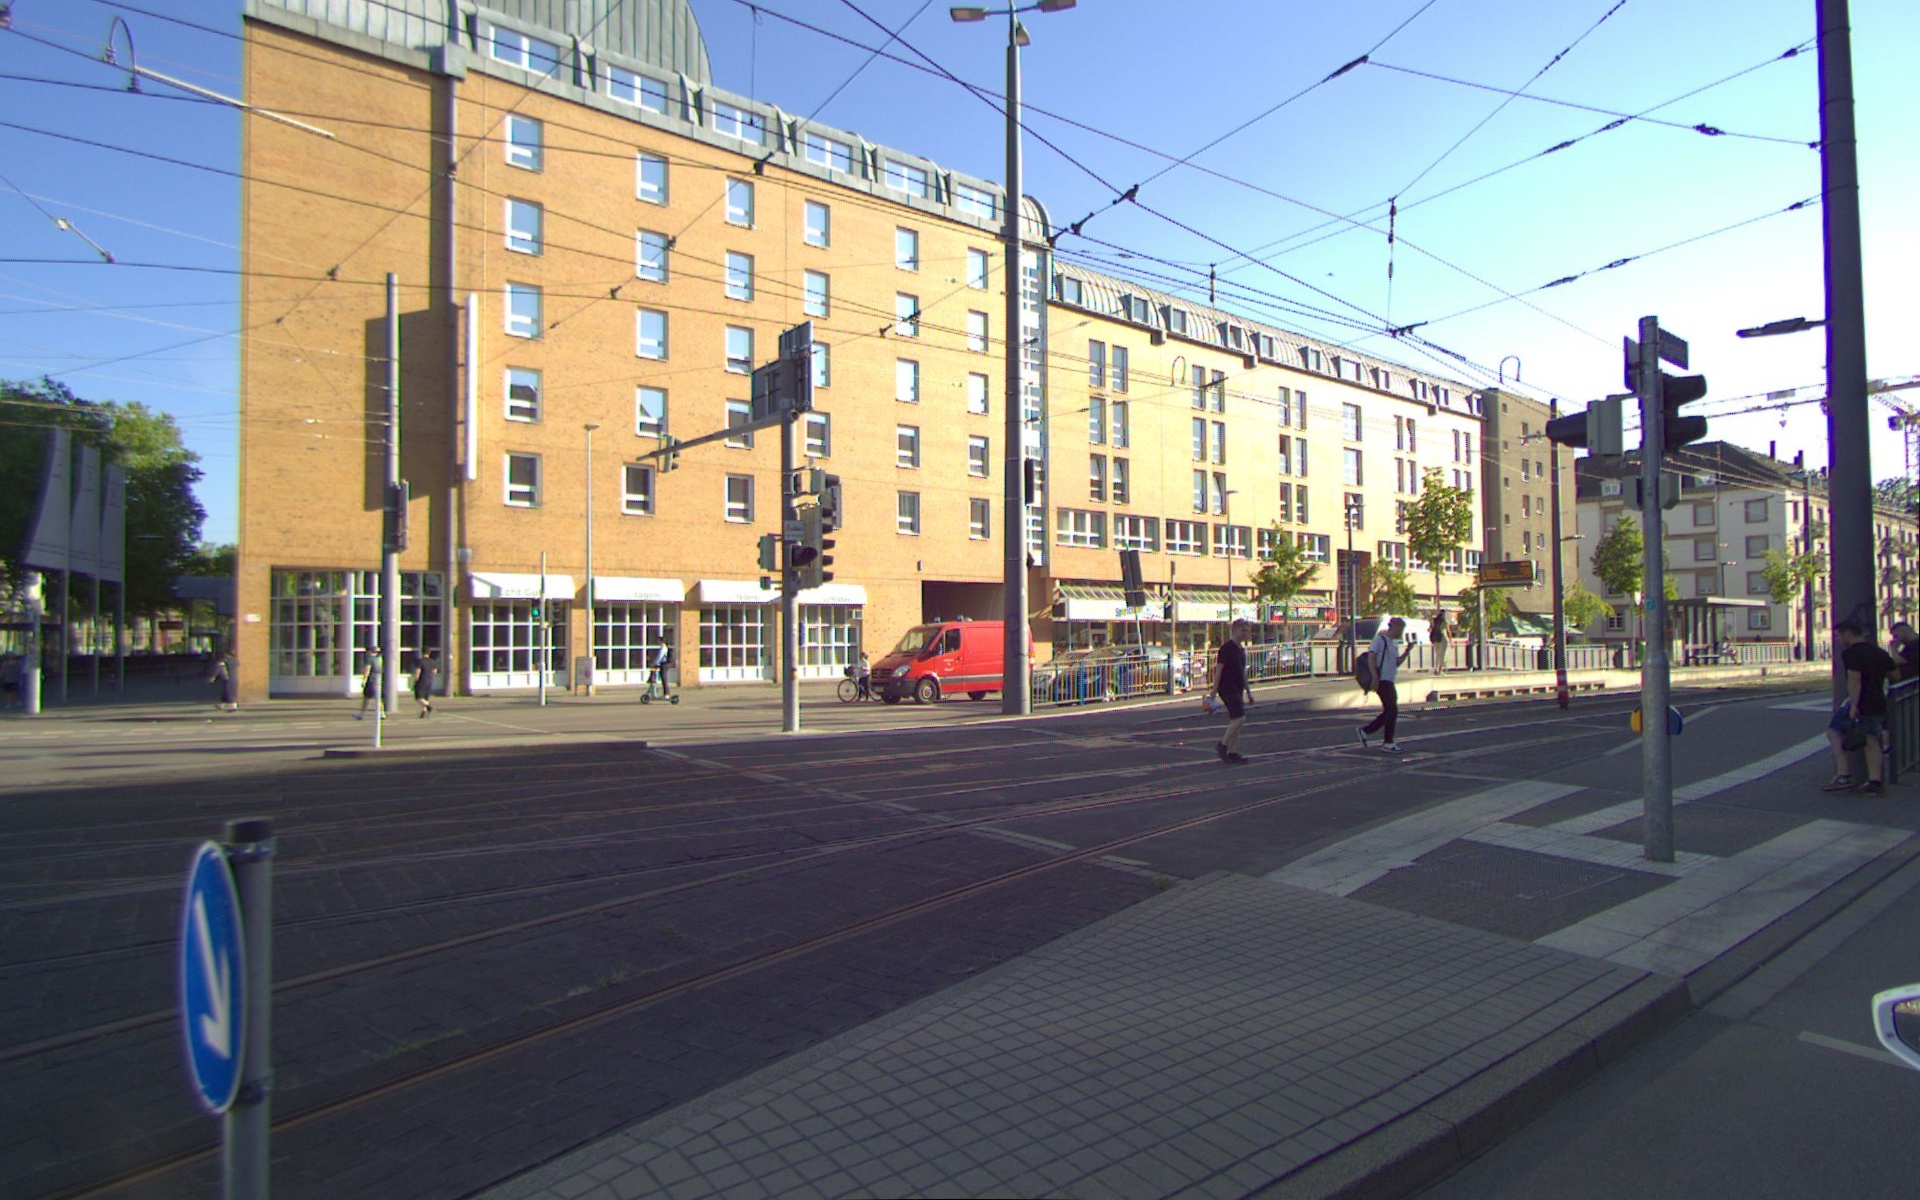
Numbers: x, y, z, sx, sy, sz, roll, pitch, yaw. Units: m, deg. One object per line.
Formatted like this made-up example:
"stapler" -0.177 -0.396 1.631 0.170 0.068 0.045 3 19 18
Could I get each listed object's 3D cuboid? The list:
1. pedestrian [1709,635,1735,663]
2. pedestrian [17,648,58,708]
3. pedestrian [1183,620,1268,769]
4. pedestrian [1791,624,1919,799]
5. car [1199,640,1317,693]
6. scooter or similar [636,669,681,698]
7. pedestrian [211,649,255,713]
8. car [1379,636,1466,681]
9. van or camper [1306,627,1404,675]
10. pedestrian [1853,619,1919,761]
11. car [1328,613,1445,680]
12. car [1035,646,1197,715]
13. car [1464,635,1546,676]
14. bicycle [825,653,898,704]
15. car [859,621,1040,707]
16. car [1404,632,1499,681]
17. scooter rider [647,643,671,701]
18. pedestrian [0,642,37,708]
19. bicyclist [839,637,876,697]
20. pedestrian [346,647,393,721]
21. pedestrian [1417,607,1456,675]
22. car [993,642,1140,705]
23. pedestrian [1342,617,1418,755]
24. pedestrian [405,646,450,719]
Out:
"pedestrian" 33.546 2.167 44.224 0.898 1.205 0.668 1 -3 -38
"pedestrian" -27.410 2.304 29.857 0.637 1.765 0.703 0 -2 -17
"pedestrian" 3.188 1.108 12.096 0.739 1.724 0.621 0 -2 -23
"pedestrian" 8.491 1.013 9.470 0.841 1.559 0.710 1 -3 -29
"car" 9.939 2.174 33.413 3.966 1.552 1.871 0 -2 -39
"scooter or similar" -9.270 2.565 30.902 1.215 0.842 0.545 0 -2 -2
"pedestrian" -18.487 2.046 25.534 0.862 1.573 0.540 1 -3 -39
"car" 21.072 2.614 45.689 4.279 1.891 1.871 0 -2 -39
"van or camper" 20.419 2.580 51.799 5.560 2.198 1.980 -1 -1 -36
"pedestrian" 10.631 1.007 11.422 0.543 1.559 0.488 0 -2 -23
"car" 16.325 1.765 38.351 4.877 2.389 2.030 1 -3 -38
"car" 3.900 1.927 24.810 3.966 1.467 1.743 0 -2 -39
"car" 27.338 2.730 50.343 4.272 1.891 1.874 0 -2 -35
"bicycle" -3.020 2.382 30.804 2.084 1.461 0.923 2 -3 -38
"car" -0.249 1.835 29.591 5.220 2.319 2.062 2 -3 -39
"car" 20.784 2.351 42.390 4.276 1.891 1.872 0 -2 -38
"scooter rider" -9.265 2.213 30.912 0.559 1.777 0.534 0 -2 1
"pedestrian" -28.131 2.220 29.917 0.637 1.920 0.743 0 -2 -16
"bicyclist" -3.129 2.025 30.672 0.808 1.810 0.809 1 -3 -38
"pedestrian" -14.138 2.006 24.059 0.764 1.740 0.641 0 -2 -9
"pedestrian" 12.157 1.056 25.644 0.570 1.706 0.673 1 -2 -32
"car" 3.030 2.019 28.292 3.966 1.552 1.871 0 -2 -39
"pedestrian" 5.531 1.112 13.229 0.773 1.740 0.633 2 -3 -44
"pedestrian" -12.969 1.996 24.472 0.764 1.740 0.641 0 -2 -9
